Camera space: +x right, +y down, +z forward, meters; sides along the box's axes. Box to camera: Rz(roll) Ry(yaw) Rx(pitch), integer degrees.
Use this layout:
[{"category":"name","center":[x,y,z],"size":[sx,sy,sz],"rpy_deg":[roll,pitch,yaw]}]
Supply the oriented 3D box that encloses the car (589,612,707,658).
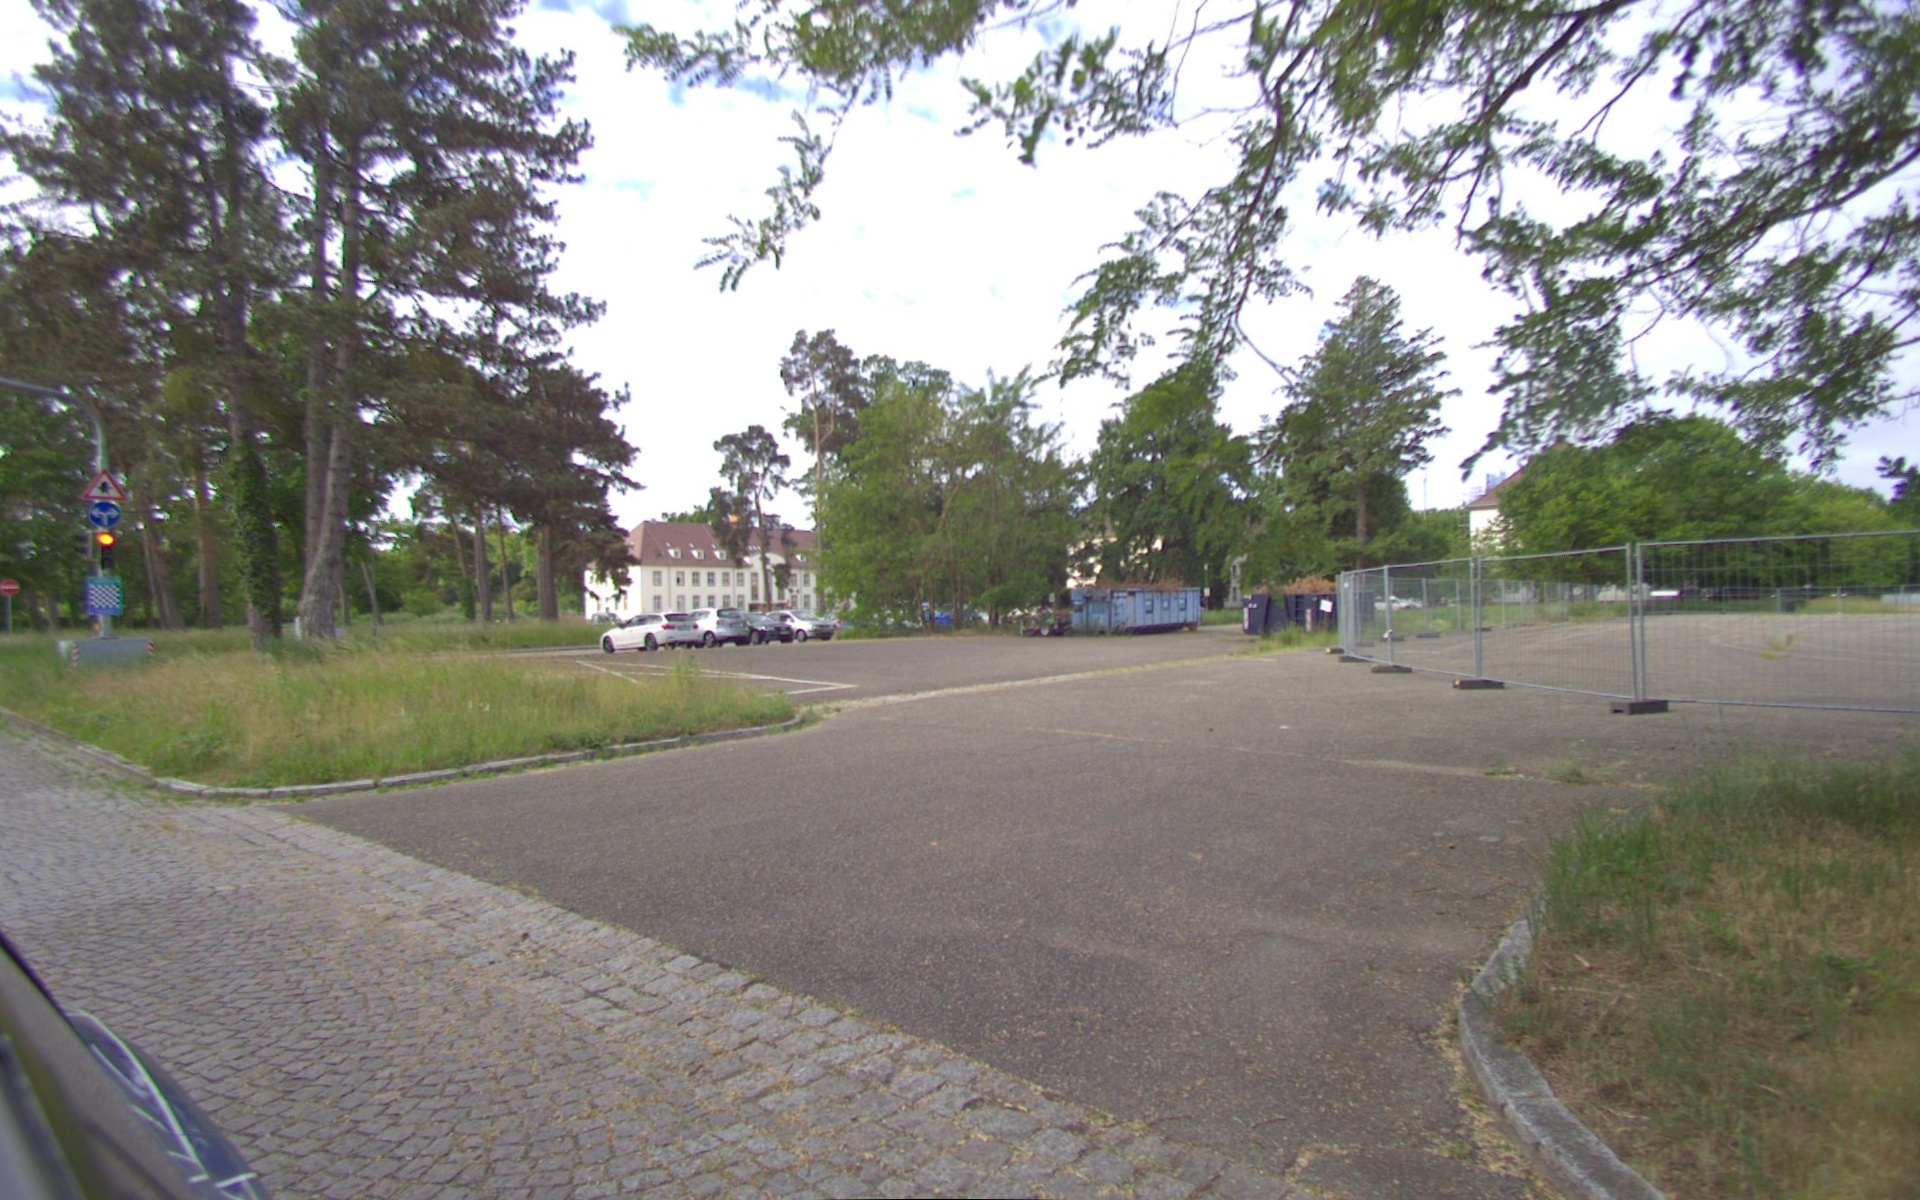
[{"category":"car","center":[-11.897,1.361,38.493],"size":[4.815,1.450,1.889],"rpy_deg":[-5,-3,39]}]

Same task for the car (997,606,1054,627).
[{"category":"car","center":[4.877,1.258,75.787],"size":[4.000,1.516,1.843],"rpy_deg":[-2,-1,44]}]

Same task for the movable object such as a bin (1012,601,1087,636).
[{"category":"movable object such as a bin","center":[3.267,0.691,37.117],"size":[2.537,1.221,1.155],"rpy_deg":[-2,-1,41]}]

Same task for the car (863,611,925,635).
[{"category":"car","center":[-4.264,1.462,65.071],"size":[3.934,1.460,1.772],"rpy_deg":[-2,-1,42]}]

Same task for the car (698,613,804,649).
[{"category":"car","center":[-8.871,1.314,42.793],"size":[4.629,1.433,1.861],"rpy_deg":[-2,-1,39]}]

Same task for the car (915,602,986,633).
[{"category":"car","center":[-0.699,1.213,68.956],"size":[1.971,2.029,4.847],"rpy_deg":[-1,-1,-45]}]

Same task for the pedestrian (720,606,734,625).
[{"category":"pedestrian","center":[-26.706,1.791,116.193],"size":[1.184,2.194,1.041],"rpy_deg":[-2,-1,41]}]

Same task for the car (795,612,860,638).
[{"category":"car","center":[-7.969,1.490,60.663],"size":[3.935,1.487,1.772],"rpy_deg":[-2,-1,42]}]

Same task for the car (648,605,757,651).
[{"category":"car","center":[-10.337,1.136,40.542],"size":[4.480,1.602,1.824],"rpy_deg":[-4,-2,37]}]

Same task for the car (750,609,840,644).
[{"category":"car","center":[-7.343,1.191,44.955],"size":[3.980,1.467,1.660],"rpy_deg":[-2,-1,37]}]
